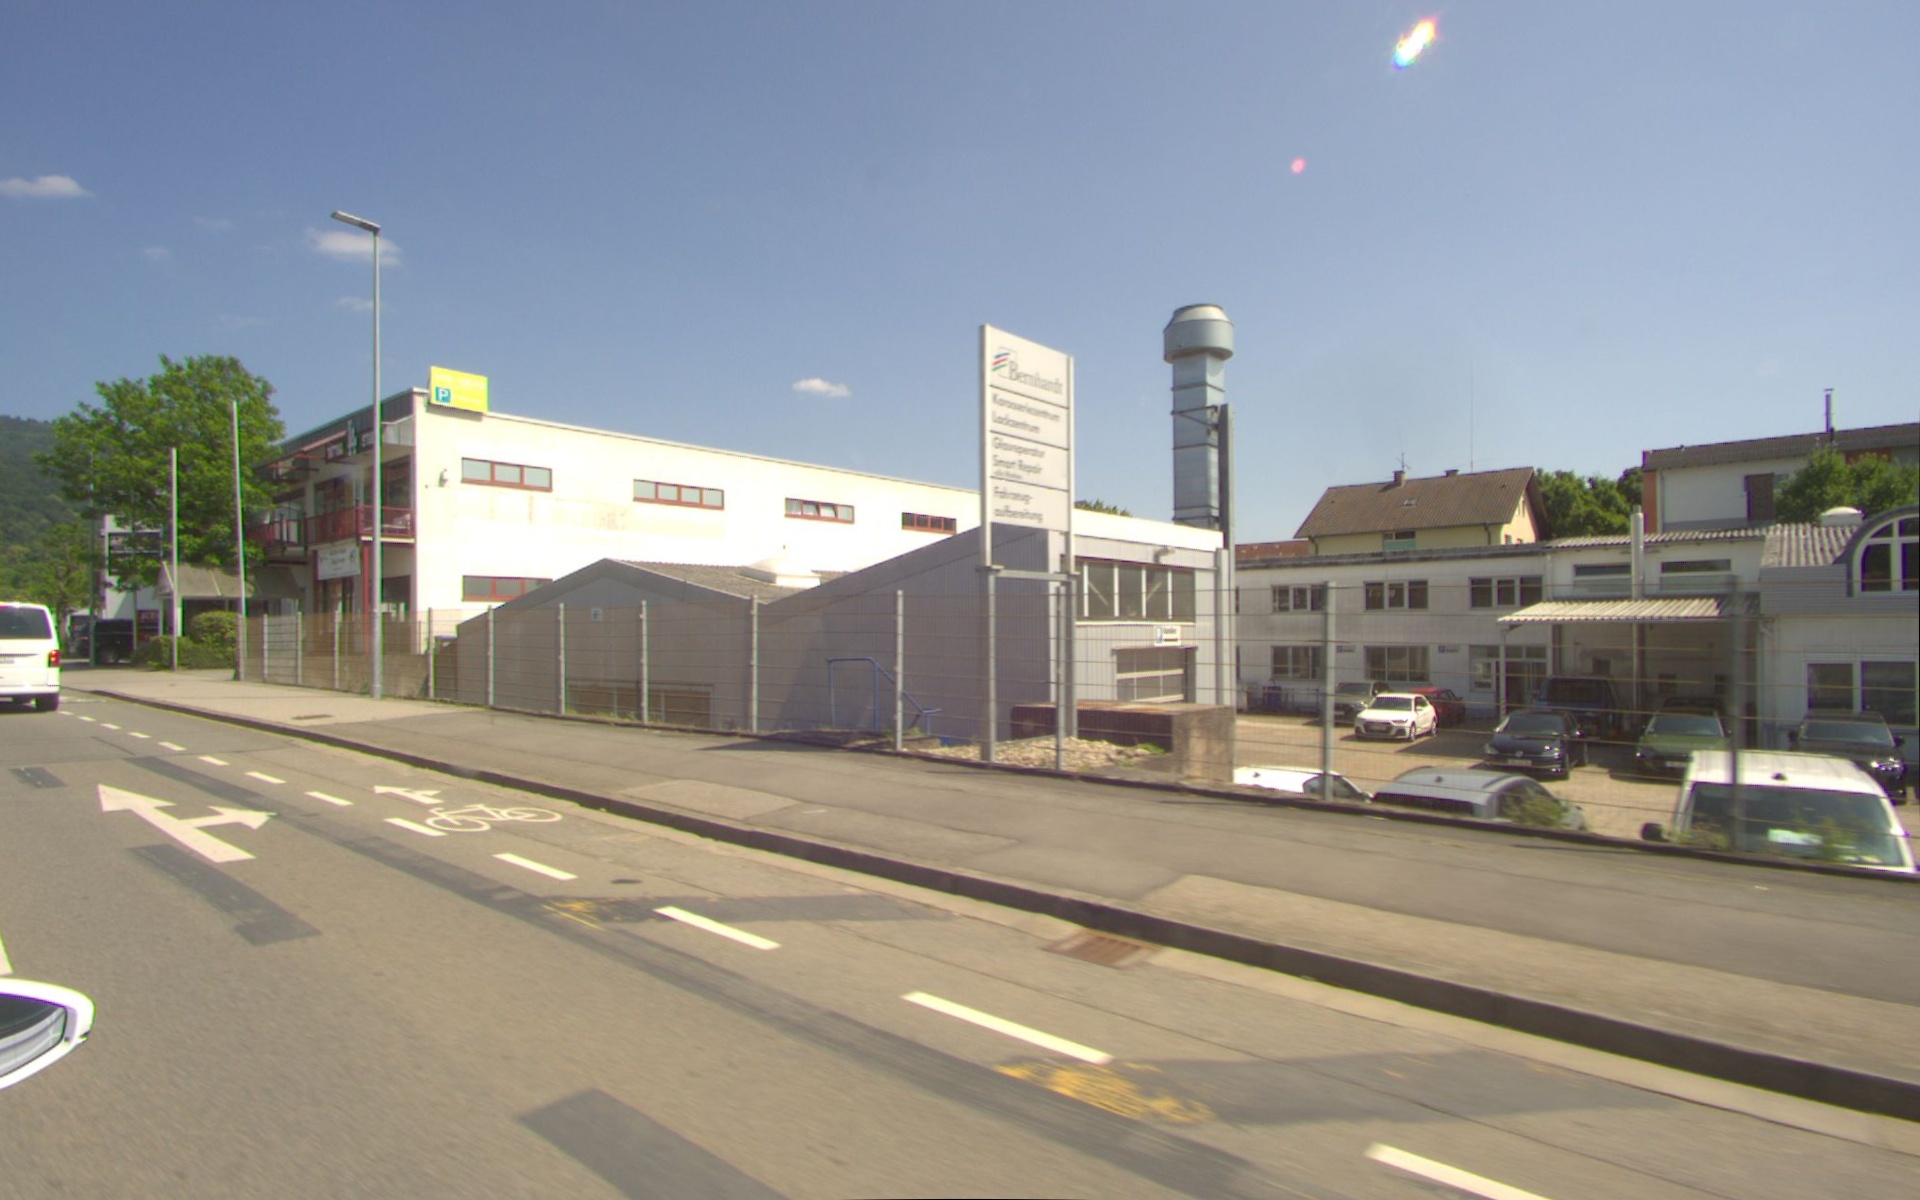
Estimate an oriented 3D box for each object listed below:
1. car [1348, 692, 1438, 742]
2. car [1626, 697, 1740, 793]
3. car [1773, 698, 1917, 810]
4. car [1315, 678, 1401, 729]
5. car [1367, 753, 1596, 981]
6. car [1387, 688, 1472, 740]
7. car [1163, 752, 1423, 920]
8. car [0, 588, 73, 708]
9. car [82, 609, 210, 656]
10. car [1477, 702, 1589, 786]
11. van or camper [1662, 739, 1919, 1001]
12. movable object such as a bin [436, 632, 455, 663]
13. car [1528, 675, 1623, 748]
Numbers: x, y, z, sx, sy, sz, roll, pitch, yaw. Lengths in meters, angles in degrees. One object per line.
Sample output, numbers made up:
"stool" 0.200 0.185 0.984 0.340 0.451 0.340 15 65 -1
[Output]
"car" 14.139 3.757 32.593 1.847 1.421 3.813 -1 -5 38
"car" 16.784 3.259 23.180 1.841 1.683 3.969 -1 -1 40
"car" 18.320 3.098 20.909 1.975 1.684 3.972 0 0 38
"car" 14.969 3.837 37.507 1.975 1.727 3.976 0 -4 38
"car" 6.758 3.153 12.756 1.829 2.038 3.974 0 -4 39
"car" 17.033 4.072 36.253 1.976 1.726 3.976 -3 -5 37
"car" 5.102 3.393 15.118 3.960 1.852 1.983 5 -4 -41
"car" -18.371 0.850 18.772 4.489 2.086 1.927 0 -1 40
"car" -33.314 1.302 41.025 3.960 1.798 1.981 1 -1 -44
"car" 14.015 3.420 24.391 1.823 1.535 3.972 -3 -2 37
"van or camper" 8.503 2.517 10.353 1.994 1.672 4.301 0 -2 36
"movable object such as a bin" -16.972 1.564 33.046 0.539 1.025 0.410 0 0 43
"car" 17.981 3.166 29.183 1.893 1.879 3.973 -1 -3 38
